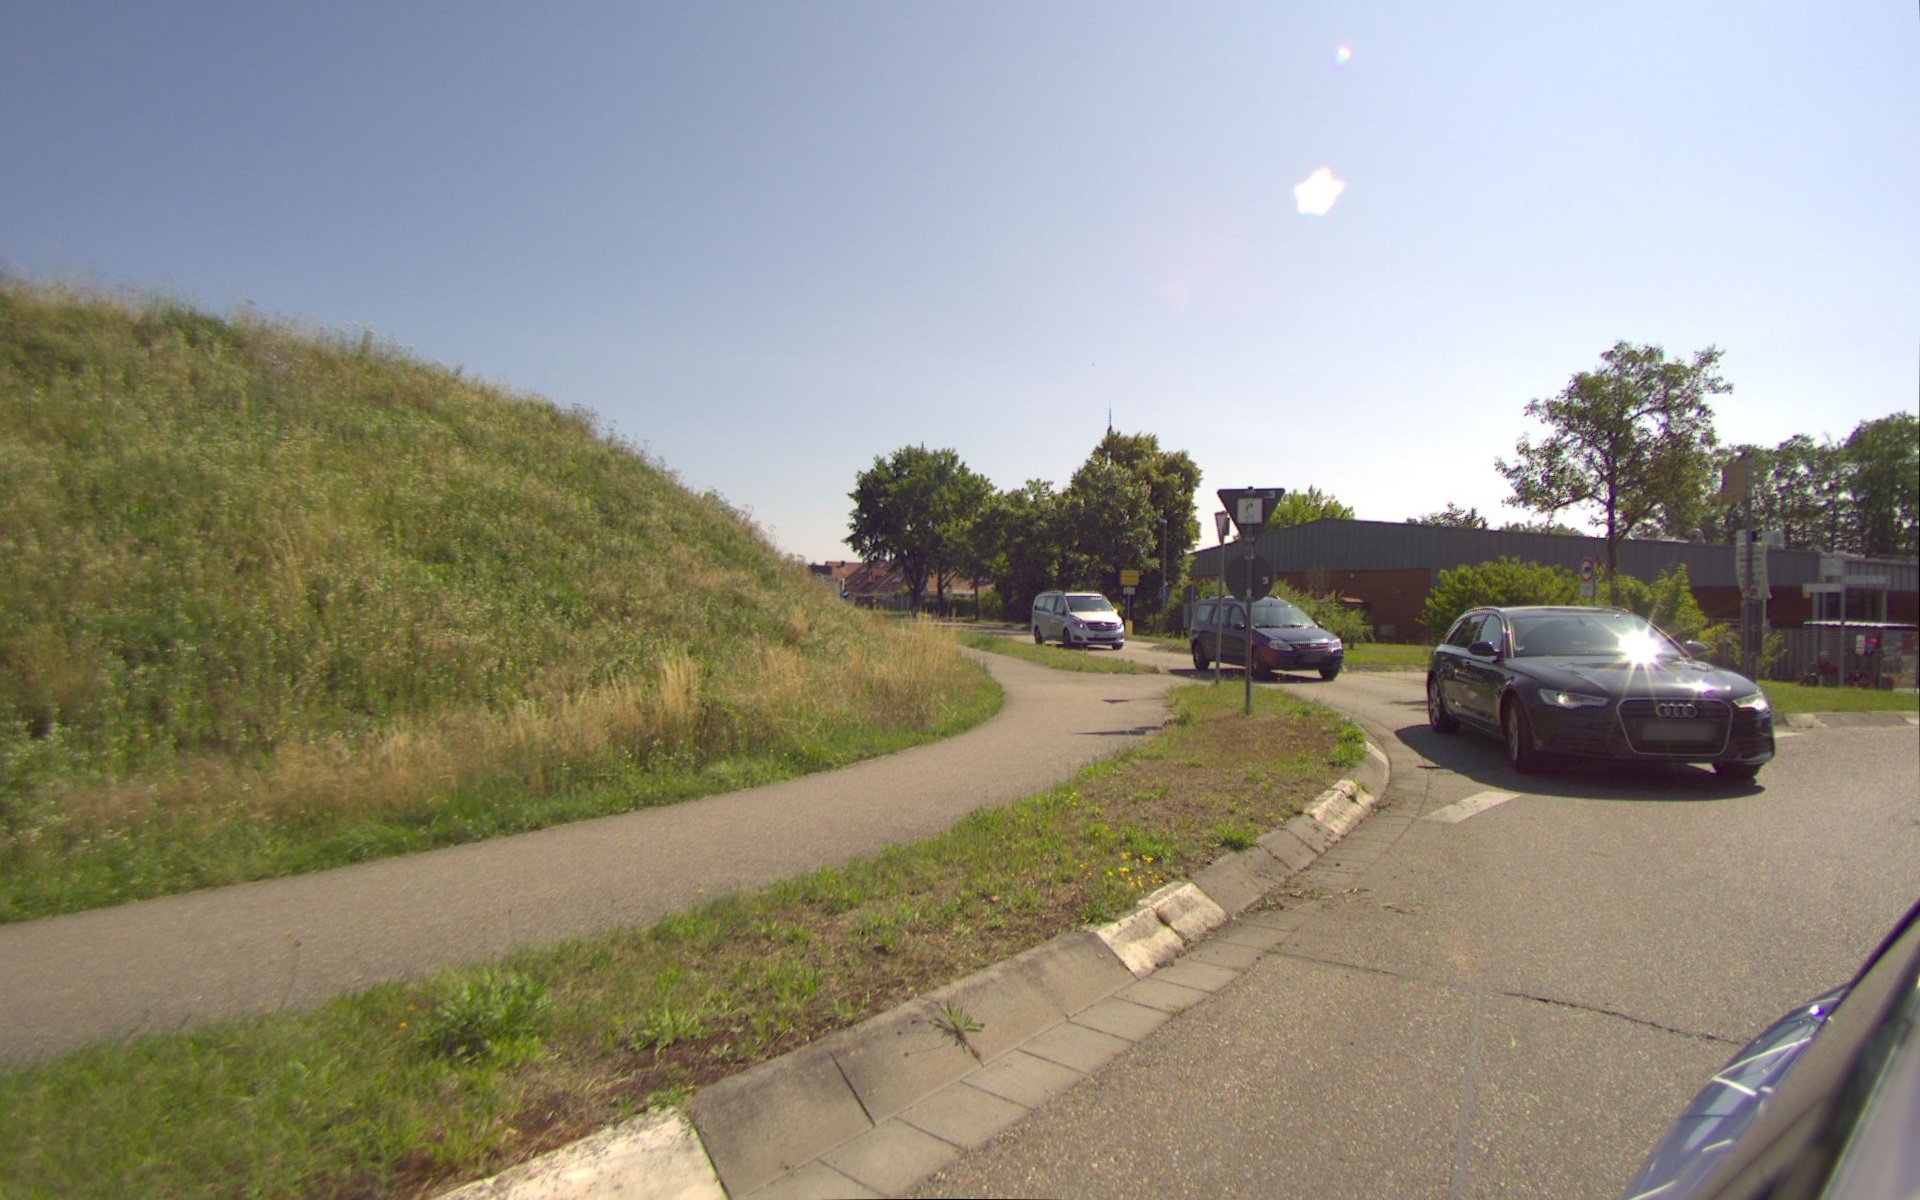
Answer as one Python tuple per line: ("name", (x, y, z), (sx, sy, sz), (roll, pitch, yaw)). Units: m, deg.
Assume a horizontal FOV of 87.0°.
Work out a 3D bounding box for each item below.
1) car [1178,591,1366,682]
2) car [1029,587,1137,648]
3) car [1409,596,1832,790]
("car", (6.358, 0.688, 21.266), (1.778, 1.661, 4.663), (-2, 0, -10))
("car", (4.045, 0.544, 34.368), (1.958, 1.839, 5.211), (2, 0, -12))
("car", (6.101, 0.706, 10.186), (1.894, 1.452, 4.894), (-1, 0, 12))
